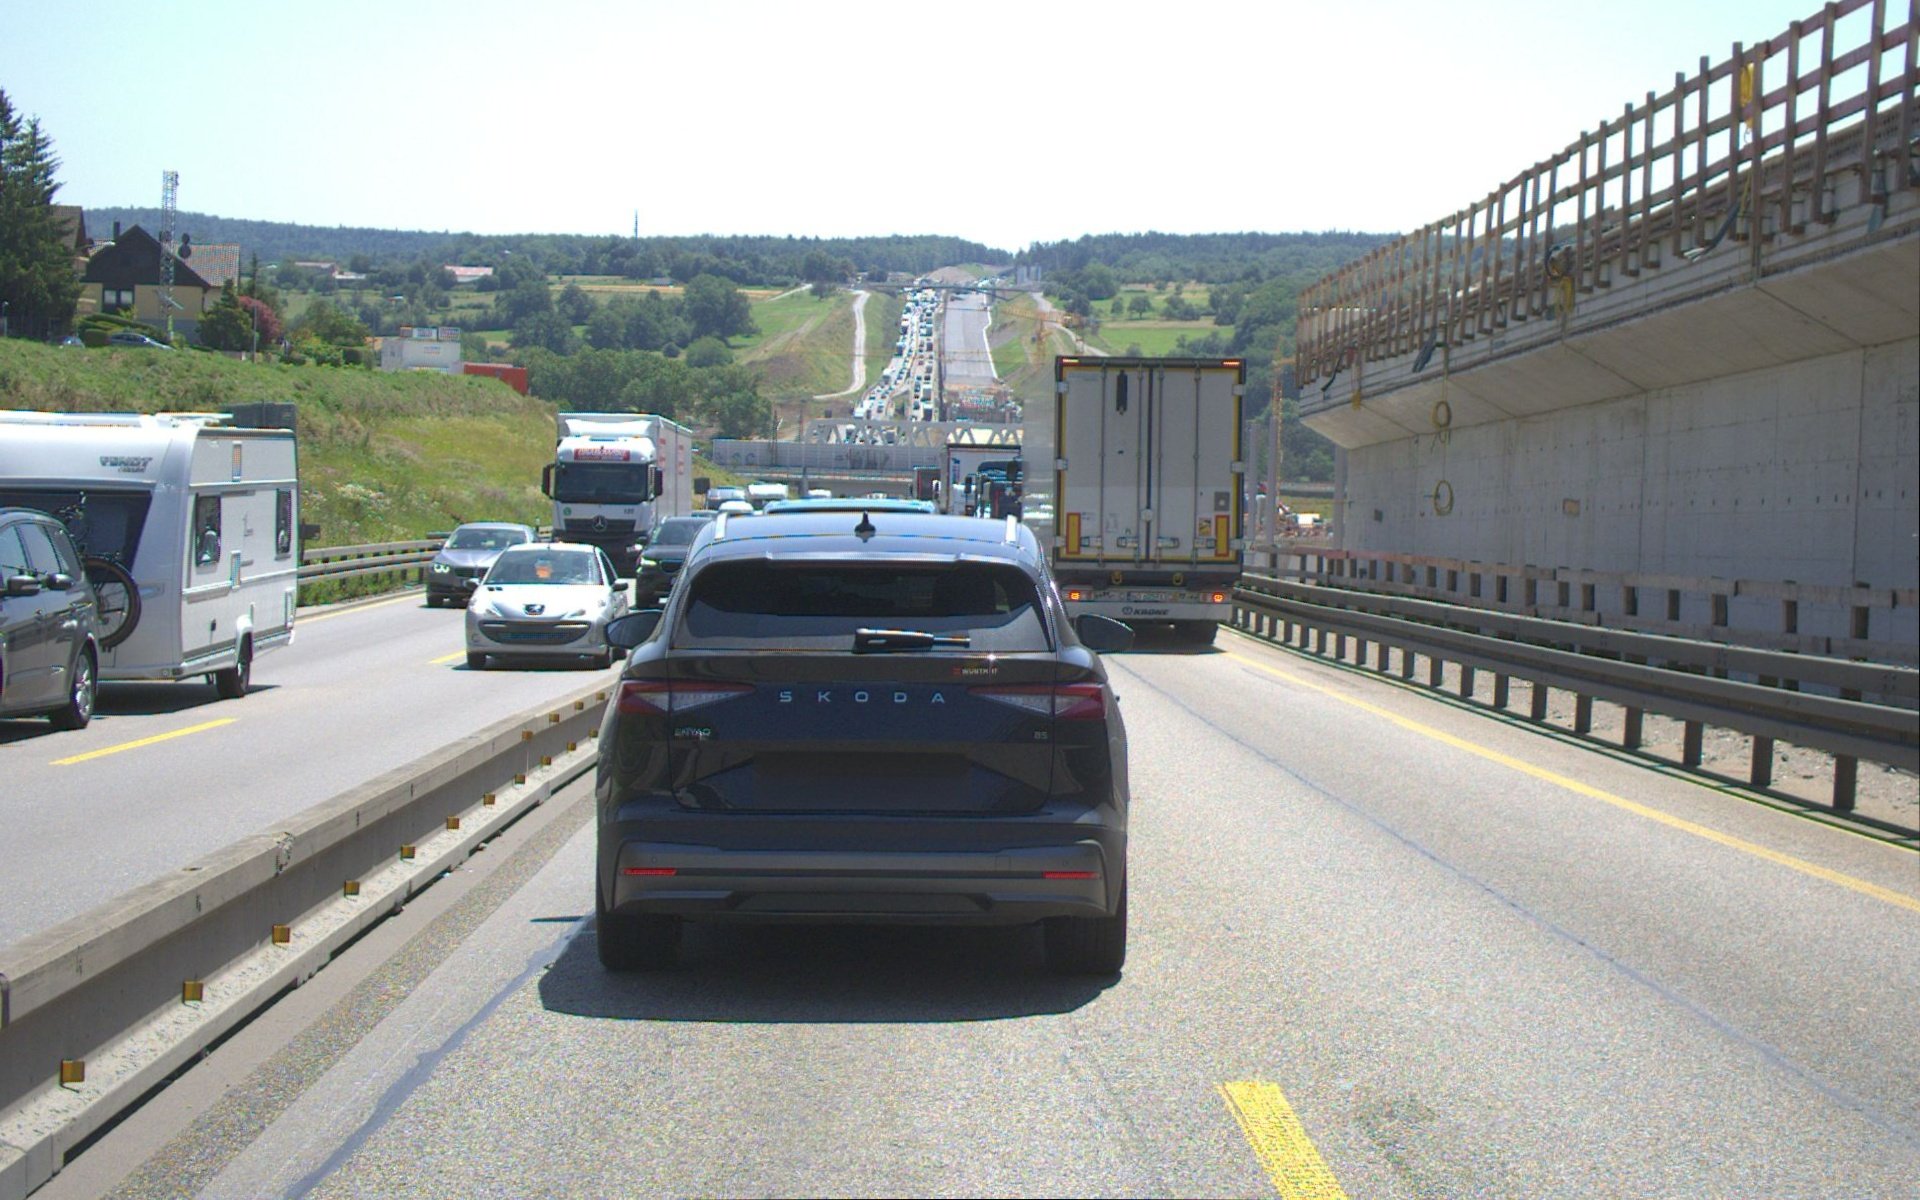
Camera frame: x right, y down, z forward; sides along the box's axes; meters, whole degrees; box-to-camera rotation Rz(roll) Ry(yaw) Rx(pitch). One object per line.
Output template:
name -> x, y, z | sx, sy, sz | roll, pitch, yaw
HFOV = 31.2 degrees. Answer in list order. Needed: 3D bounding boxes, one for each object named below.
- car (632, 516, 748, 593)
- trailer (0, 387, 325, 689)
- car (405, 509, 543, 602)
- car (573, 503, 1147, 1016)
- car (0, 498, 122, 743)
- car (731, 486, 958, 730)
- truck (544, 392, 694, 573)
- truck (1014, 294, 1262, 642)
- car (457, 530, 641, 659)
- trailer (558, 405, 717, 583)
car -> -4.863, -0.802, 62.293 | 1.771, 1.284, 4.000 | 2, 0, 0
trailer -> -7.808, -0.541, 32.646 | 2.484, 2.604, 5.867 | 0, 0, 0
car -> -8.587, -0.769, 61.011 | 1.872, 1.437, 4.000 | 5, 0, -2
car -> -0.391, 0.481, 12.757 | 1.782, 1.592, 3.755 | 1, 1, -2
car -> -7.628, 0.108, 25.107 | 1.877, 1.706, 4.648 | 1, 1, 0
car -> -1.059, 0.041, 30.041 | 1.749, 1.889, 3.756 | 3, 1, -4
truck -> -8.701, -2.919, 88.624 | 2.753, 4.212, 8.099 | 5, 0, 0
truck -> 2.495, -1.792, 52.185 | 2.846, 4.599, 11.811 | 2, 0, -1
car -> -4.767, -0.063, 40.343 | 1.702, 1.436, 4.000 | 0, 0, 0
trailer -> -8.718, -2.736, 94.778 | 2.760, 4.259, 14.634 | 5, 0, 0
